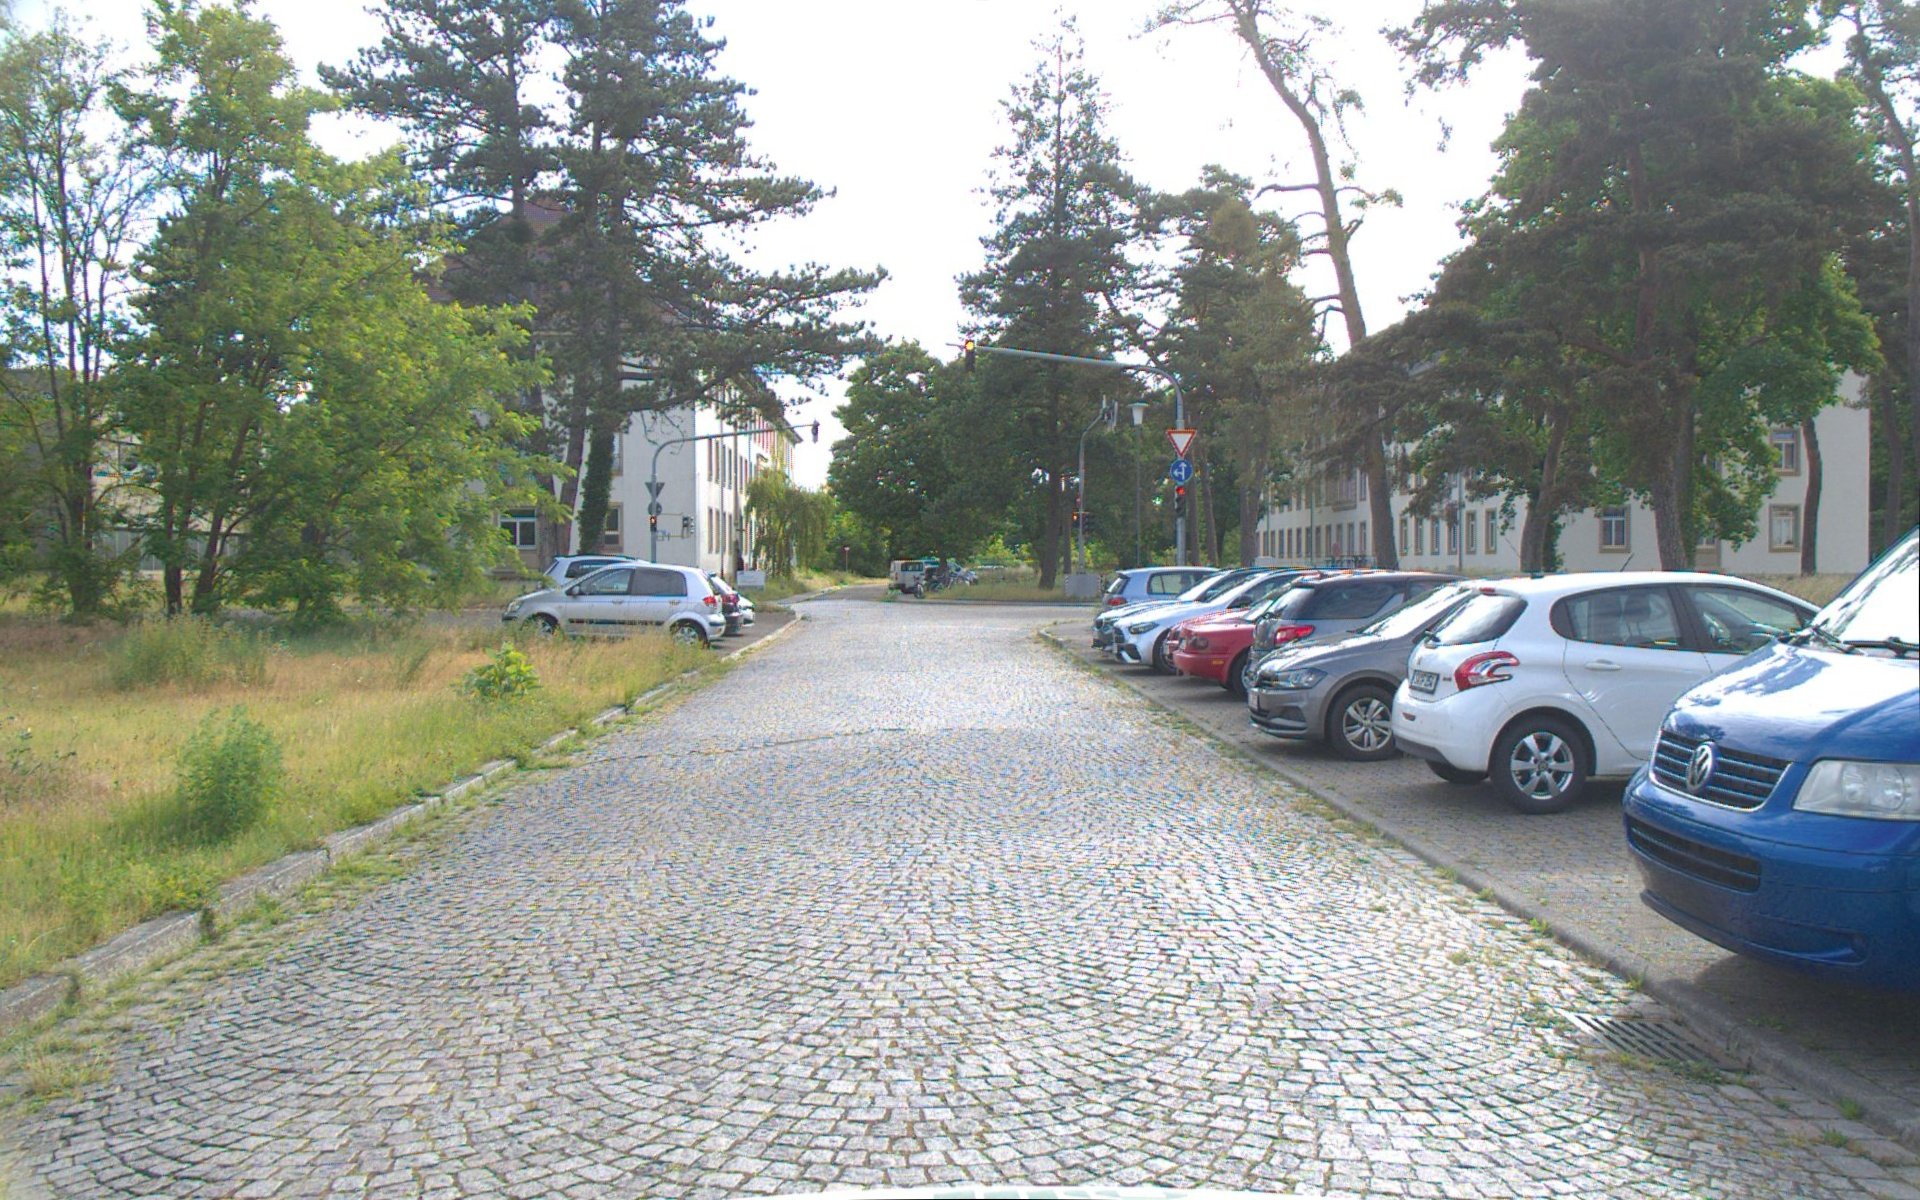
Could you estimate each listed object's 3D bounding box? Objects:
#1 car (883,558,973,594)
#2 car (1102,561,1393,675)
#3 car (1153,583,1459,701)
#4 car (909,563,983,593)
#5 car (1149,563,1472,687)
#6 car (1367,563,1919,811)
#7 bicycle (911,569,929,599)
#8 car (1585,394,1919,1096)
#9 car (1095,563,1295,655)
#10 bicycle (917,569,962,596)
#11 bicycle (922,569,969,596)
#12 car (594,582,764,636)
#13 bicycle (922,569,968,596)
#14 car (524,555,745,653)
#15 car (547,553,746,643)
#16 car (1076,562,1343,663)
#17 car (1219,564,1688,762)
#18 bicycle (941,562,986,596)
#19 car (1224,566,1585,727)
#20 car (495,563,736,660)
[{"bbox_3d":[-1.852,-1.415,96.277,4.962,2.048,1.994,0,1,-13],"label":"car"},{"bbox_3d":[4.182,0.228,24.311,3.912,1.570,1.661,0,1,-8],"label":"car"},{"bbox_3d":[4.093,0.467,19.824,3.230,1.289,1.661,0,1,-8],"label":"car"},{"bbox_3d":[-0.797,-1.235,93.042,3.912,1.673,1.997,0,1,-8],"label":"car"},{"bbox_3d":[4.628,0.299,22.091,3.912,1.570,1.661,0,1,-8],"label":"car"},{"bbox_3d":[4.610,0.521,11.261,3.227,1.531,1.663,0,1,-4],"label":"car"},{"bbox_3d":[-1.805,-0.732,74.692,0.793,1.290,1.973,0,1,-1],"label":"bicycle"},{"bbox_3d":[4.884,0.402,5.887,4.687,2.075,1.737,0,1,-3],"label":"car"},{"bbox_3d":[4.194,0.135,29.695,3.325,1.570,1.389,0,1,-8],"label":"car"},{"bbox_3d":[-0.996,-0.863,80.286,2.120,1.290,0.811,0,1,-9],"label":"bicycle"},{"bbox_3d":[-0.700,-0.844,78.496,2.120,1.290,0.811,0,1,-9],"label":"bicycle"},{"bbox_3d":[-6.137,0.187,36.347,3.602,1.113,1.643,0,1,-8],"label":"car"},{"bbox_3d":[-0.724,-0.849,79.082,2.120,1.290,0.811,0,1,-9],"label":"bicycle"},{"bbox_3d":[-6.018,0.038,30.977,3.912,1.735,1.997,0,1,-8],"label":"car"},{"bbox_3d":[-6.397,-0.061,34.046,3.913,1.780,1.923,0,1,-9],"label":"car"},{"bbox_3d":[4.055,0.171,27.118,4.045,1.570,1.661,0,1,-8],"label":"car"},{"bbox_3d":[4.189,0.472,14.231,3.535,1.533,1.659,-1,1,-13],"label":"car"},{"bbox_3d":[0.165,-1.017,79.825,2.120,1.644,0.811,0,1,-9],"label":"bicycle"},{"bbox_3d":[4.556,0.424,17.125,3.235,1.530,1.659,-1,1,-13],"label":"car"},{"bbox_3d":[-5.840,0.159,28.510,3.912,1.579,1.997,0,1,-8],"label":"car"}]
